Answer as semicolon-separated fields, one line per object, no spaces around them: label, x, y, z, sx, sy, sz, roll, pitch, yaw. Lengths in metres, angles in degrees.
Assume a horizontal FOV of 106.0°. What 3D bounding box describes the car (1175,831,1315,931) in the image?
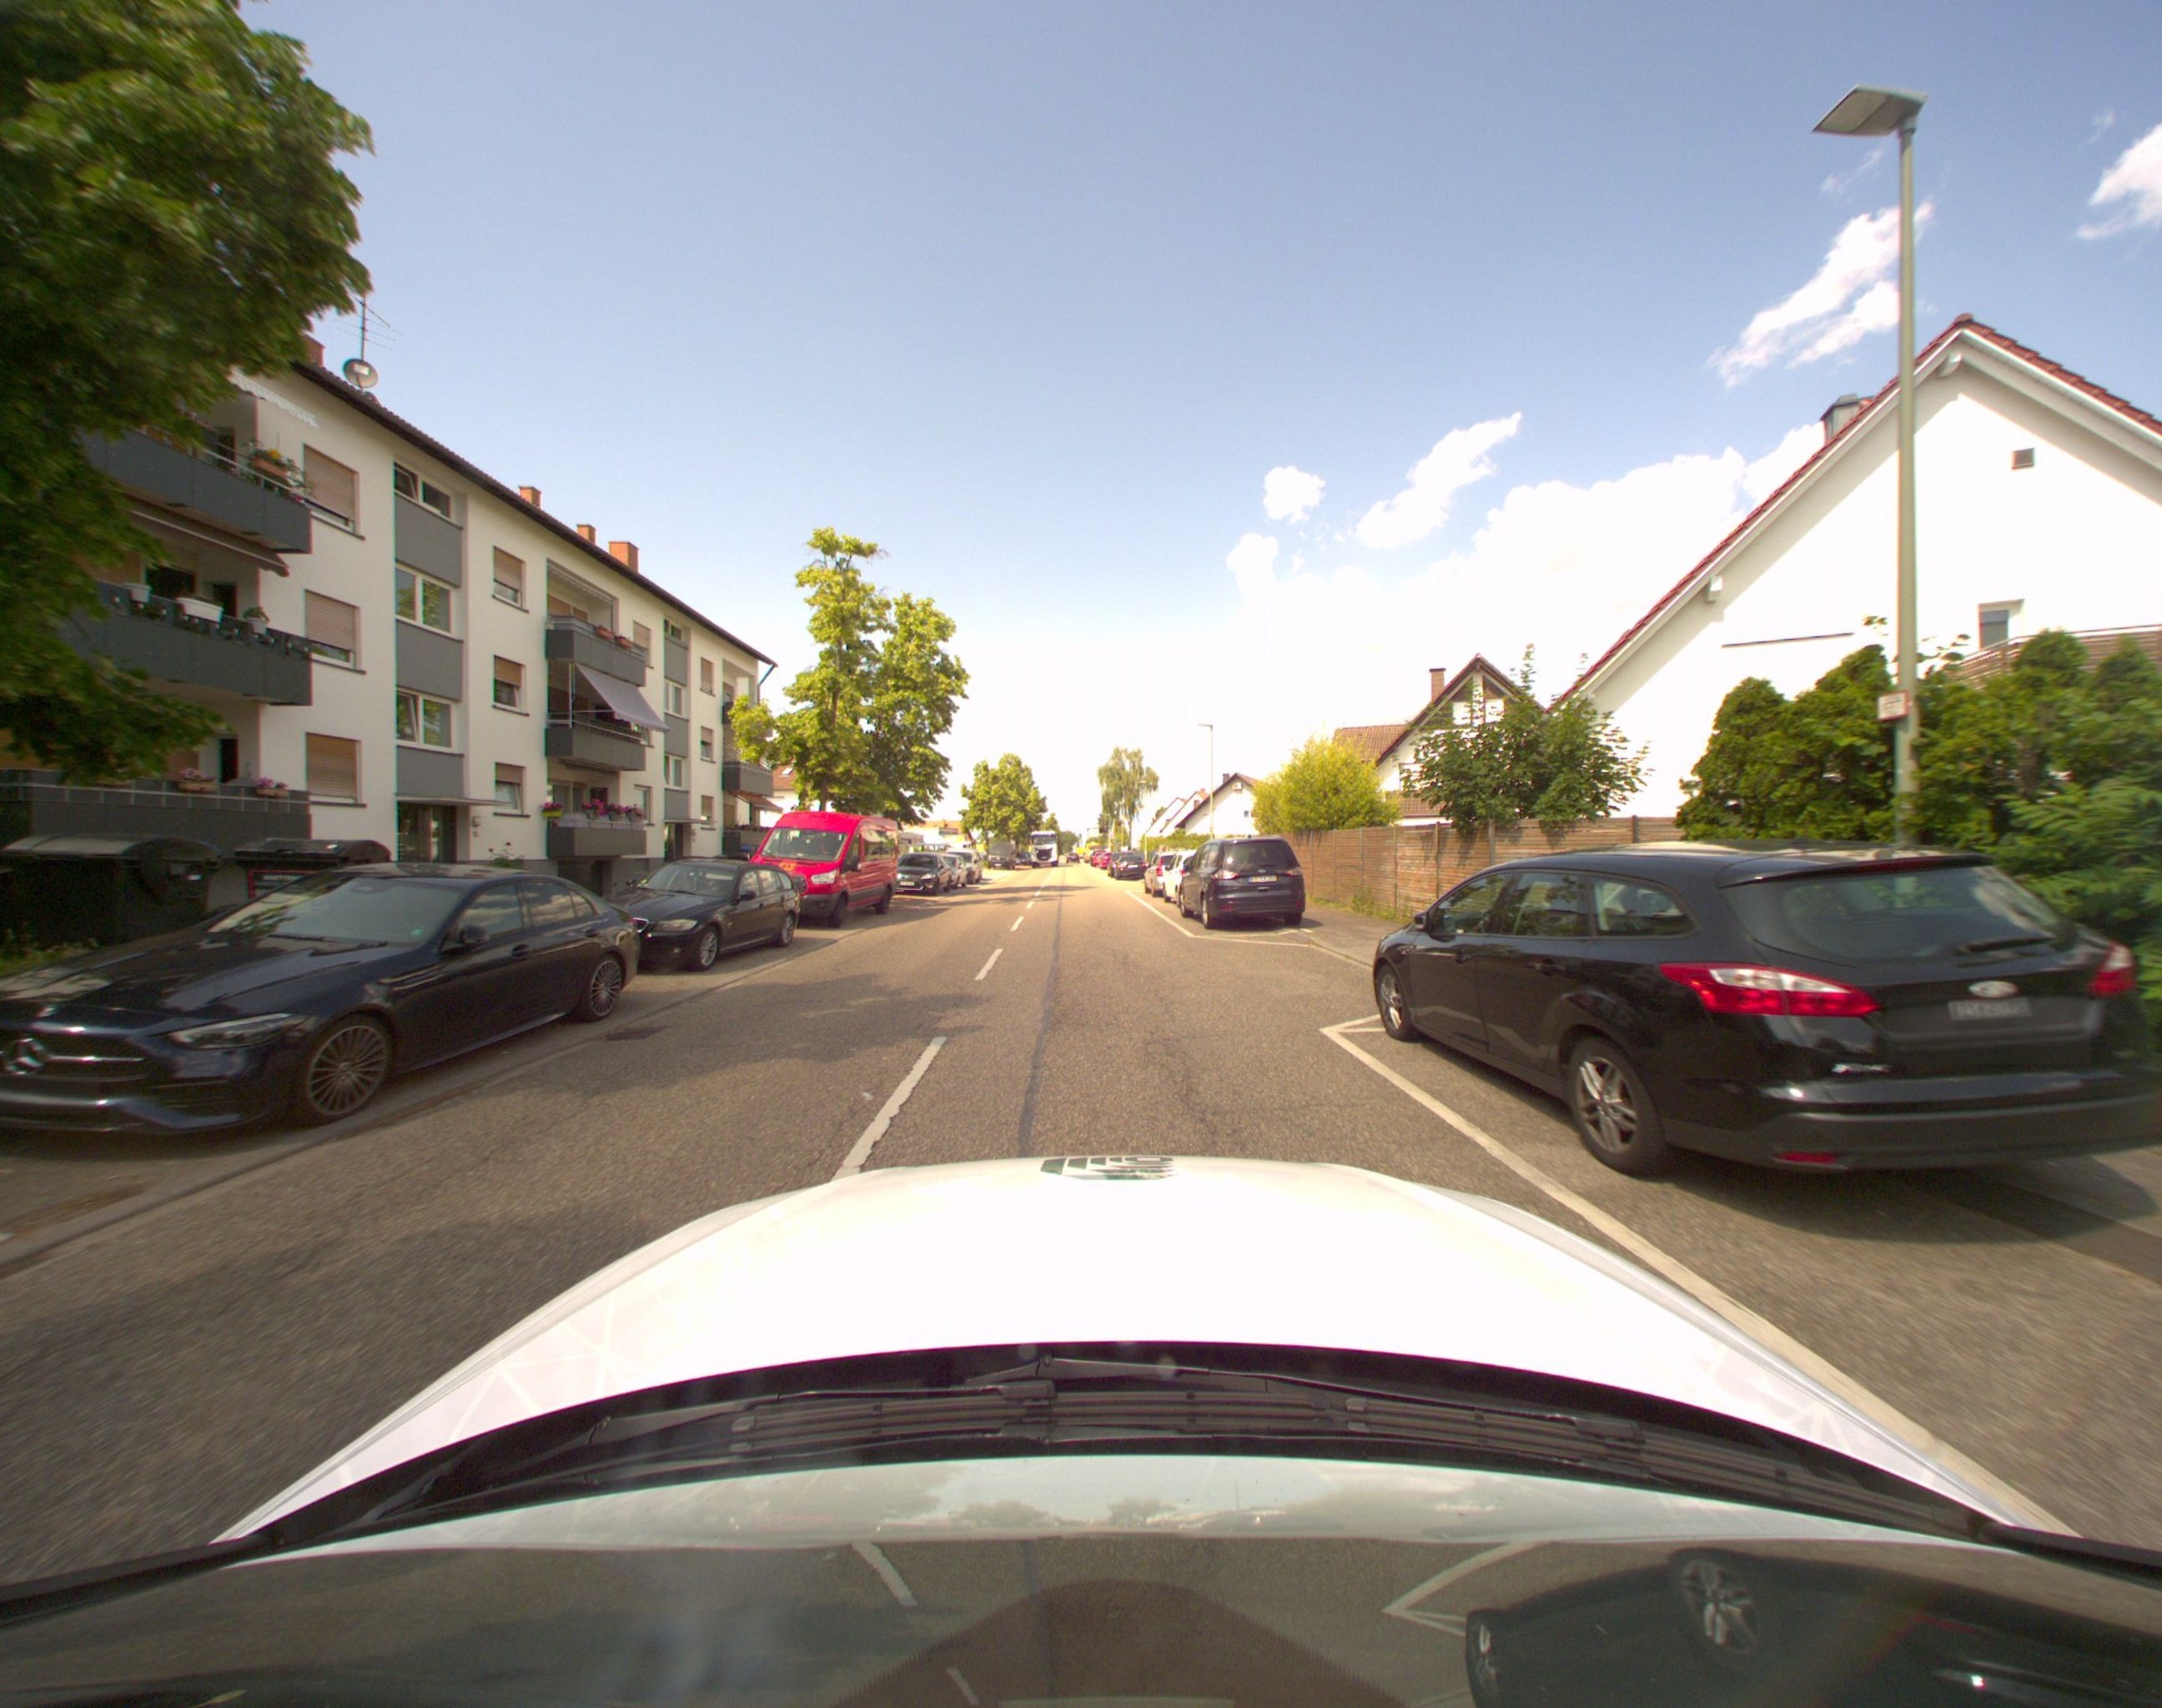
car;3.168;0.475;16.687;1.790;1.748;4.580;-1;0;-2

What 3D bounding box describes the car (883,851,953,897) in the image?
car;-5.847;0.691;29.733;1.783;1.457;4.430;3;0;-3

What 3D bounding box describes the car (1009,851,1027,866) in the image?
car;-7.091;0.484;91.488;1.783;1.601;4.430;3;0;-3

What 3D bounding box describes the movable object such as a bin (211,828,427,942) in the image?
movable object such as a bin;-10.890;0.405;11.764;1.349;1.504;1.827;-1;0;1

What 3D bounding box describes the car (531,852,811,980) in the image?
car;-5.749;0.767;12.177;1.781;1.457;4.436;3;0;1

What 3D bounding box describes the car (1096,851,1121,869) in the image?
car;2.272;0.480;68.465;1.790;1.523;4.529;-1;0;-1

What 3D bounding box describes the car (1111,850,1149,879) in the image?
car;2.667;0.551;44.981;1.790;1.523;3.971;-1;0;-1

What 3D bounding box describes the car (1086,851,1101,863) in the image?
car;1.669;0.352;110.281;1.790;1.523;4.528;-1;0;-2

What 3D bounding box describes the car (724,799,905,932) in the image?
car;-5.887;0.203;19.007;2.056;2.500;5.842;3;0;1

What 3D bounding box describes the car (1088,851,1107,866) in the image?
car;1.659;0.442;83.003;1.790;1.523;4.529;-1;0;-1

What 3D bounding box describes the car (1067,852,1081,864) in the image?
car;-0.918;0.564;109.988;1.790;1.523;4.528;-1;0;-2

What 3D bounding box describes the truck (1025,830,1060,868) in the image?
truck;-3.756;-0.479;82.769;2.853;3.512;12.355;0;0;1

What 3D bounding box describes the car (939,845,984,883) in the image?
car;-6.107;0.510;41.990;1.783;1.746;4.430;3;0;-3

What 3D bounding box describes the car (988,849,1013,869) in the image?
car;-6.903;0.436;70.201;1.783;1.601;4.430;3;0;-3

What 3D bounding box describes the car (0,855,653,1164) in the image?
car;-5.327;0.791;6.284;1.783;1.457;4.430;3;0;-3

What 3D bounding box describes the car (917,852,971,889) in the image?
car;-6.045;0.688;36.337;1.783;1.457;4.430;3;0;-3

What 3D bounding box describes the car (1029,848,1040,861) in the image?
car;-8.100;0.141;142.065;1.783;2.252;4.767;-1;0;-3

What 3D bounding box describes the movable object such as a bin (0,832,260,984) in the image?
movable object such as a bin;-10.717;0.537;9.014;1.349;1.504;1.827;-1;0;1

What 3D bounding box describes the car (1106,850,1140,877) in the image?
car;2.529;0.546;49.445;1.790;1.523;3.971;-1;0;-1

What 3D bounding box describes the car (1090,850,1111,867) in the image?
car;1.832;0.413;78.240;1.790;1.523;4.529;-1;0;-1

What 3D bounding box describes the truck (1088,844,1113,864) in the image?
truck;2.167;-0.008;93.845;2.561;2.260;6.531;-1;0;-1

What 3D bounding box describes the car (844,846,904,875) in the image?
car;-11.380;0.366;45.086;1.779;1.457;4.441;3;0;5

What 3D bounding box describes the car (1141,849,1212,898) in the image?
car;3.142;0.595;27.600;1.790;1.523;3.970;-1;0;-2

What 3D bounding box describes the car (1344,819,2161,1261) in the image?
car;3.217;0.631;5.054;1.731;1.509;4.475;0;0;0

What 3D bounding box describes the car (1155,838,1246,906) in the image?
car;3.276;0.462;23.014;1.791;1.748;3.968;-1;0;-3
